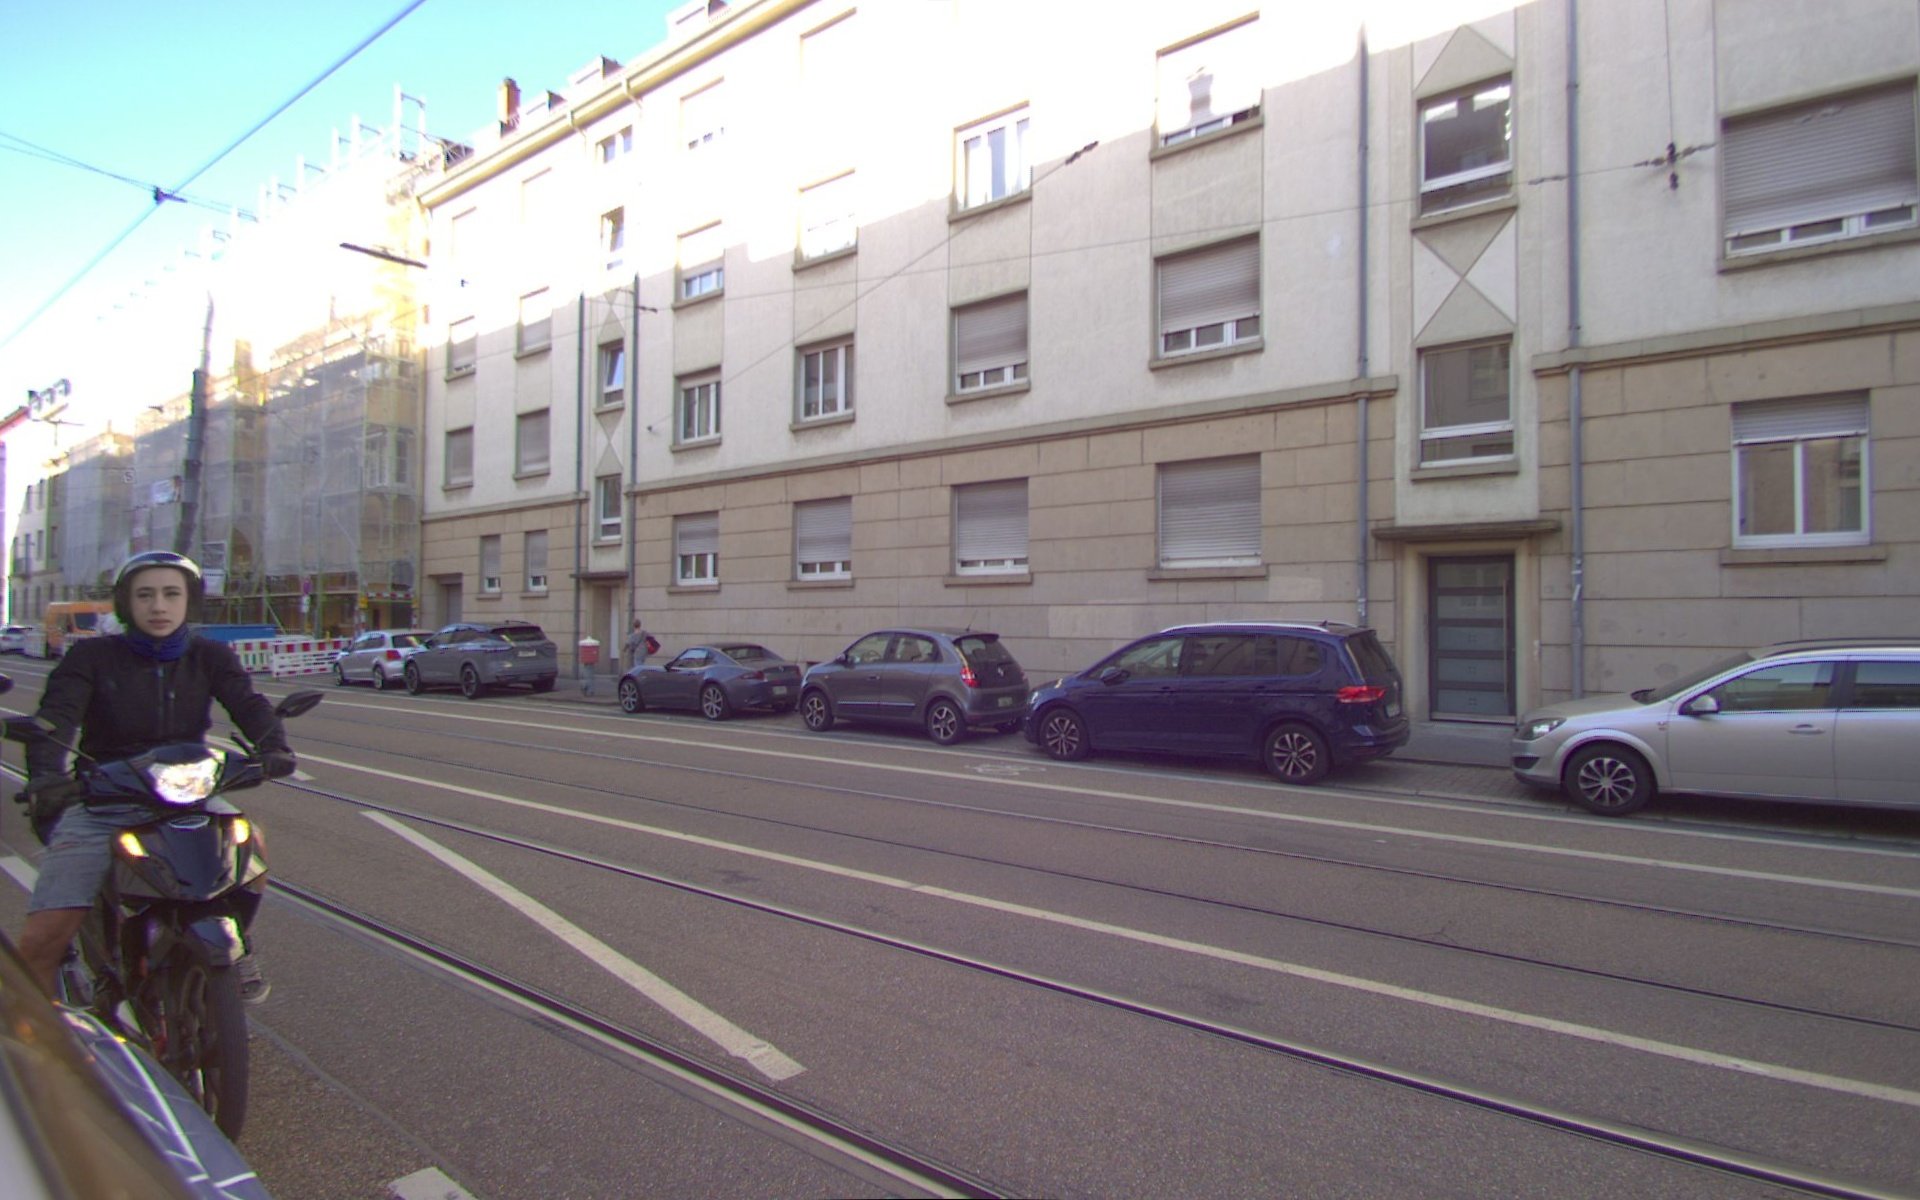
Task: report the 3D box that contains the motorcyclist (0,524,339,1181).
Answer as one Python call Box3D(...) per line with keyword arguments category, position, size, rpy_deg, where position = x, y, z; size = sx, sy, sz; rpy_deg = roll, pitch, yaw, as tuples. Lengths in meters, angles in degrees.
Box3D(category="motorcyclist", position=(-2.549, 0.659, 3.158), size=(0.899, 1.668, 0.781), rpy_deg=(-2, -3, 41))

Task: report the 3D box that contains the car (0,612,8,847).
Box3D(category="car", position=(-8.136, 0.857, 6.995), size=(4.143, 1.473, 1.664), rpy_deg=(-2, -1, 38))

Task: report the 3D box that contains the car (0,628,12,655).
Box3D(category="car", position=(-54.592, 2.326, 56.813), size=(3.964, 1.498, 1.662), rpy_deg=(-2, -1, 42))

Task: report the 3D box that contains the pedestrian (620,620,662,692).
Box3D(category="pedestrian", position=(-7.010, 1.228, 22.236), size=(0.693, 1.553, 0.563), rpy_deg=(-2, -3, 39))

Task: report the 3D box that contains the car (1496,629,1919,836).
Box3D(category="car", position=(7.119, 1.003, 8.501), size=(4.383, 1.489, 1.779), rpy_deg=(-1, -1, 38))

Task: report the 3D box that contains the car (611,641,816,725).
Box3D(category="car", position=(-4.322, 1.367, 17.499), size=(3.681, 1.244, 1.502), rpy_deg=(-1, -1, 38))

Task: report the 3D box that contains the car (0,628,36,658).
Box3D(category="car", position=(-50.076, 2.271, 53.336), size=(3.964, 1.498, 1.662), rpy_deg=(-2, -1, 42))

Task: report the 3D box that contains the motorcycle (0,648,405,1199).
Box3D(category="motorcycle", position=(-2.646, 0.820, 3.236), size=(2.272, 1.302, 0.781), rpy_deg=(-2, -3, 41))

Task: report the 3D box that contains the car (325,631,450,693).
Box3D(category="car", position=(-14.393, 1.499, 25.395), size=(3.506, 1.423, 1.524), rpy_deg=(-1, -1, 38))

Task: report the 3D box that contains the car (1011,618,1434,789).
Box3D(category="car", position=(2.885, 1.033, 11.675), size=(4.383, 1.611, 1.779), rpy_deg=(-1, -1, 38))

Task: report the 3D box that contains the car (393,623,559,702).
Box3D(category="car", position=(-10.891, 1.334, 22.658), size=(4.201, 1.611, 1.675), rpy_deg=(-1, -1, 38))

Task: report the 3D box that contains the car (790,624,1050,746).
Box3D(category="car", position=(-0.636, 1.134, 14.653), size=(3.535, 1.539, 1.659), rpy_deg=(-1, -1, 38))
